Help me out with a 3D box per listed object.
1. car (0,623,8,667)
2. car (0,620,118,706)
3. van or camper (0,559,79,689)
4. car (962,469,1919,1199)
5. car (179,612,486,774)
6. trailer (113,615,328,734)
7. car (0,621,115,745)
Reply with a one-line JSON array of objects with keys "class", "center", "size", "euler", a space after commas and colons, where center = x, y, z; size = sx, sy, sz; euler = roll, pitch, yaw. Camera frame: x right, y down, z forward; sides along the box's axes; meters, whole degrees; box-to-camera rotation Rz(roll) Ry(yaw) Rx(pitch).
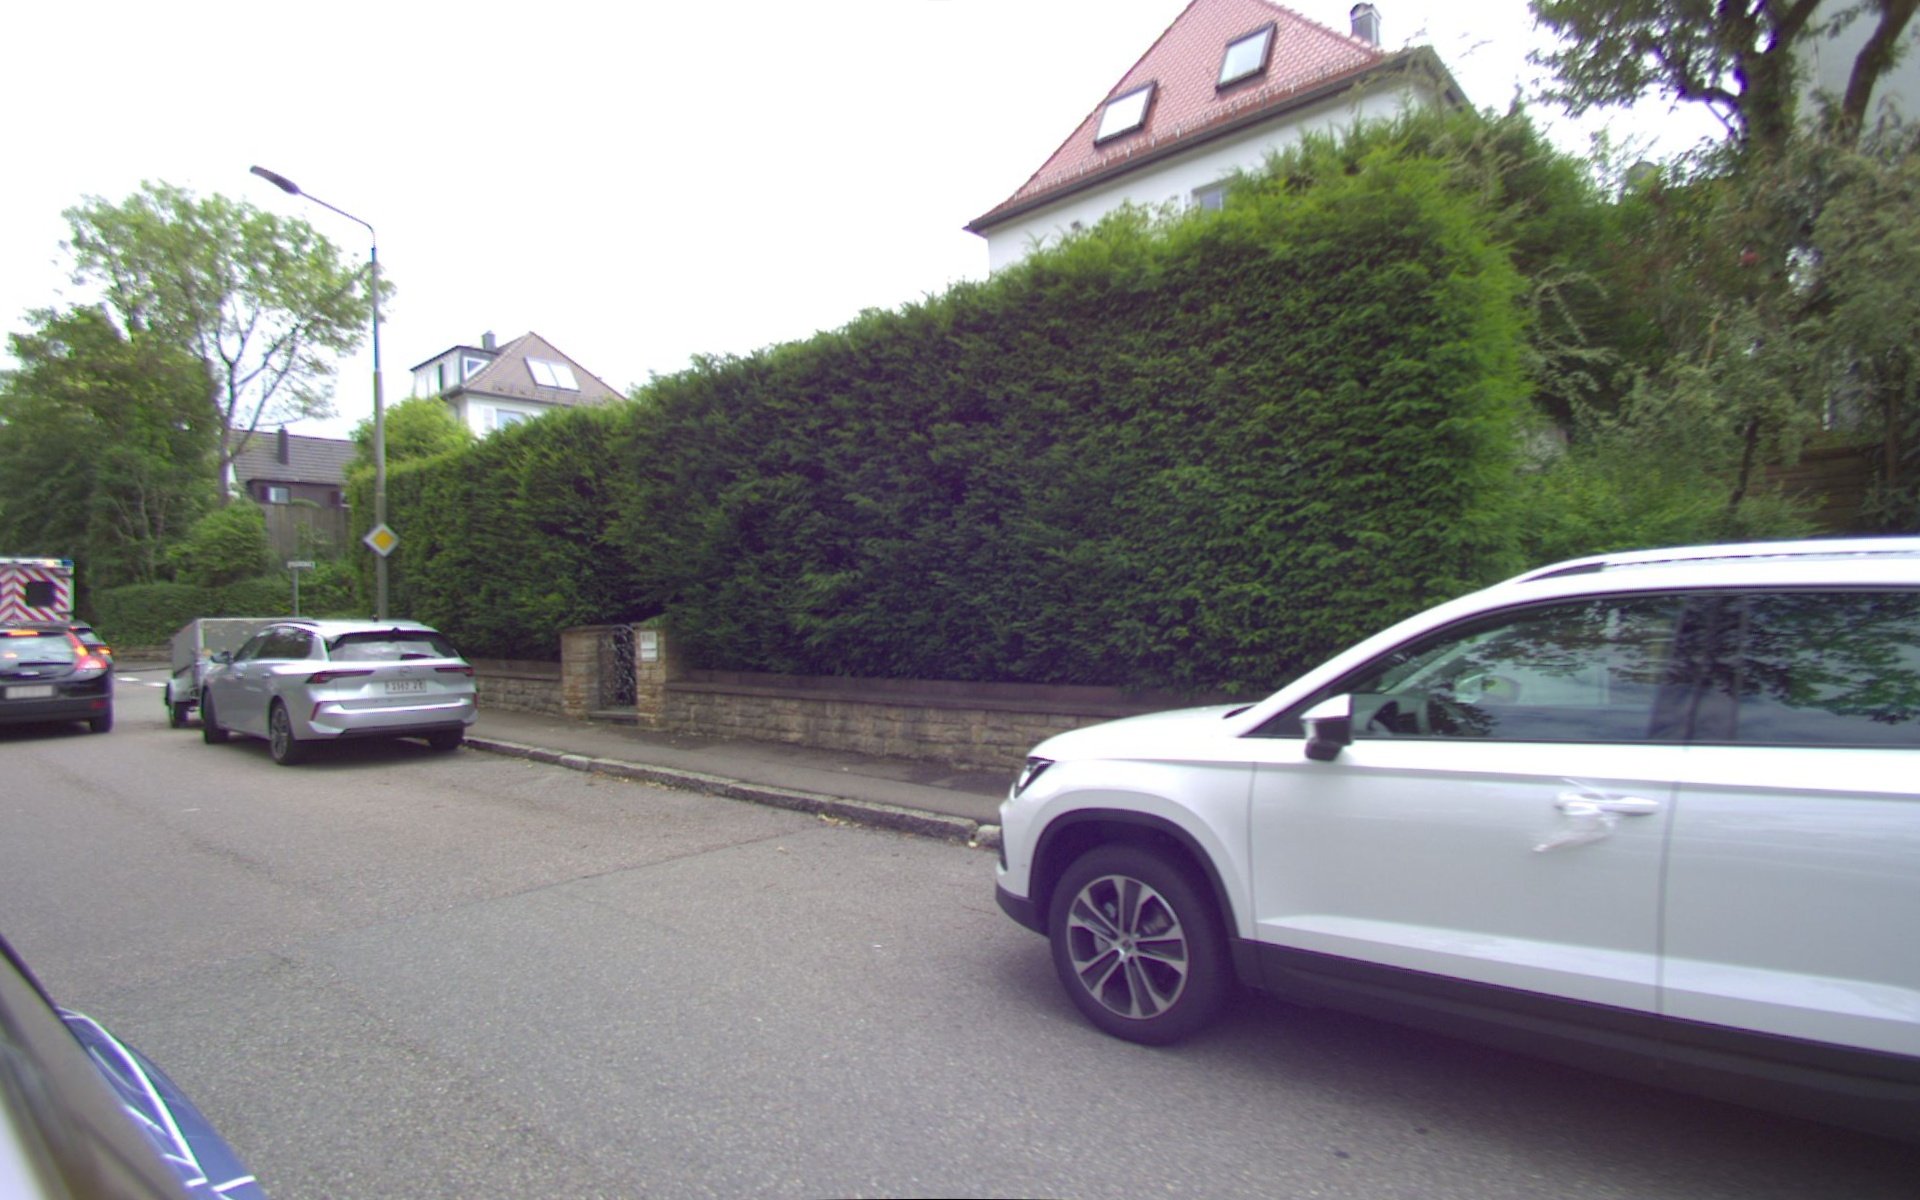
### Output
[{"class": "car", "center": [-35.401, 1.591, 36.074], "size": [4.057, 1.516, 1.702], "euler": [-1, -2, 41]}, {"class": "car", "center": [-17.860, 1.144, 19.398], "size": [4.467, 1.457, 1.747], "euler": [-1, -1, 38]}, {"class": "van or camper", "center": [-24.116, 0.592, 25.266], "size": [7.167, 2.917, 2.430], "euler": [-1, -1, 43]}, {"class": "car", "center": [2.193, 0.578, 3.136], "size": [4.181, 1.661, 1.820], "euler": [-1, -2, 39]}, {"class": "car", "center": [-7.321, 0.925, 11.617], "size": [4.471, 1.511, 1.745], "euler": [-1, -2, 41]}, {"class": "trailer", "center": [-11.260, 1.018, 15.287], "size": [4.472, 1.507, 1.745], "euler": [-1, -1, 42]}, {"class": "car", "center": [-13.042, 1.047, 13.726], "size": [4.471, 1.457, 1.745], "euler": [-1, -1, 41]}]
